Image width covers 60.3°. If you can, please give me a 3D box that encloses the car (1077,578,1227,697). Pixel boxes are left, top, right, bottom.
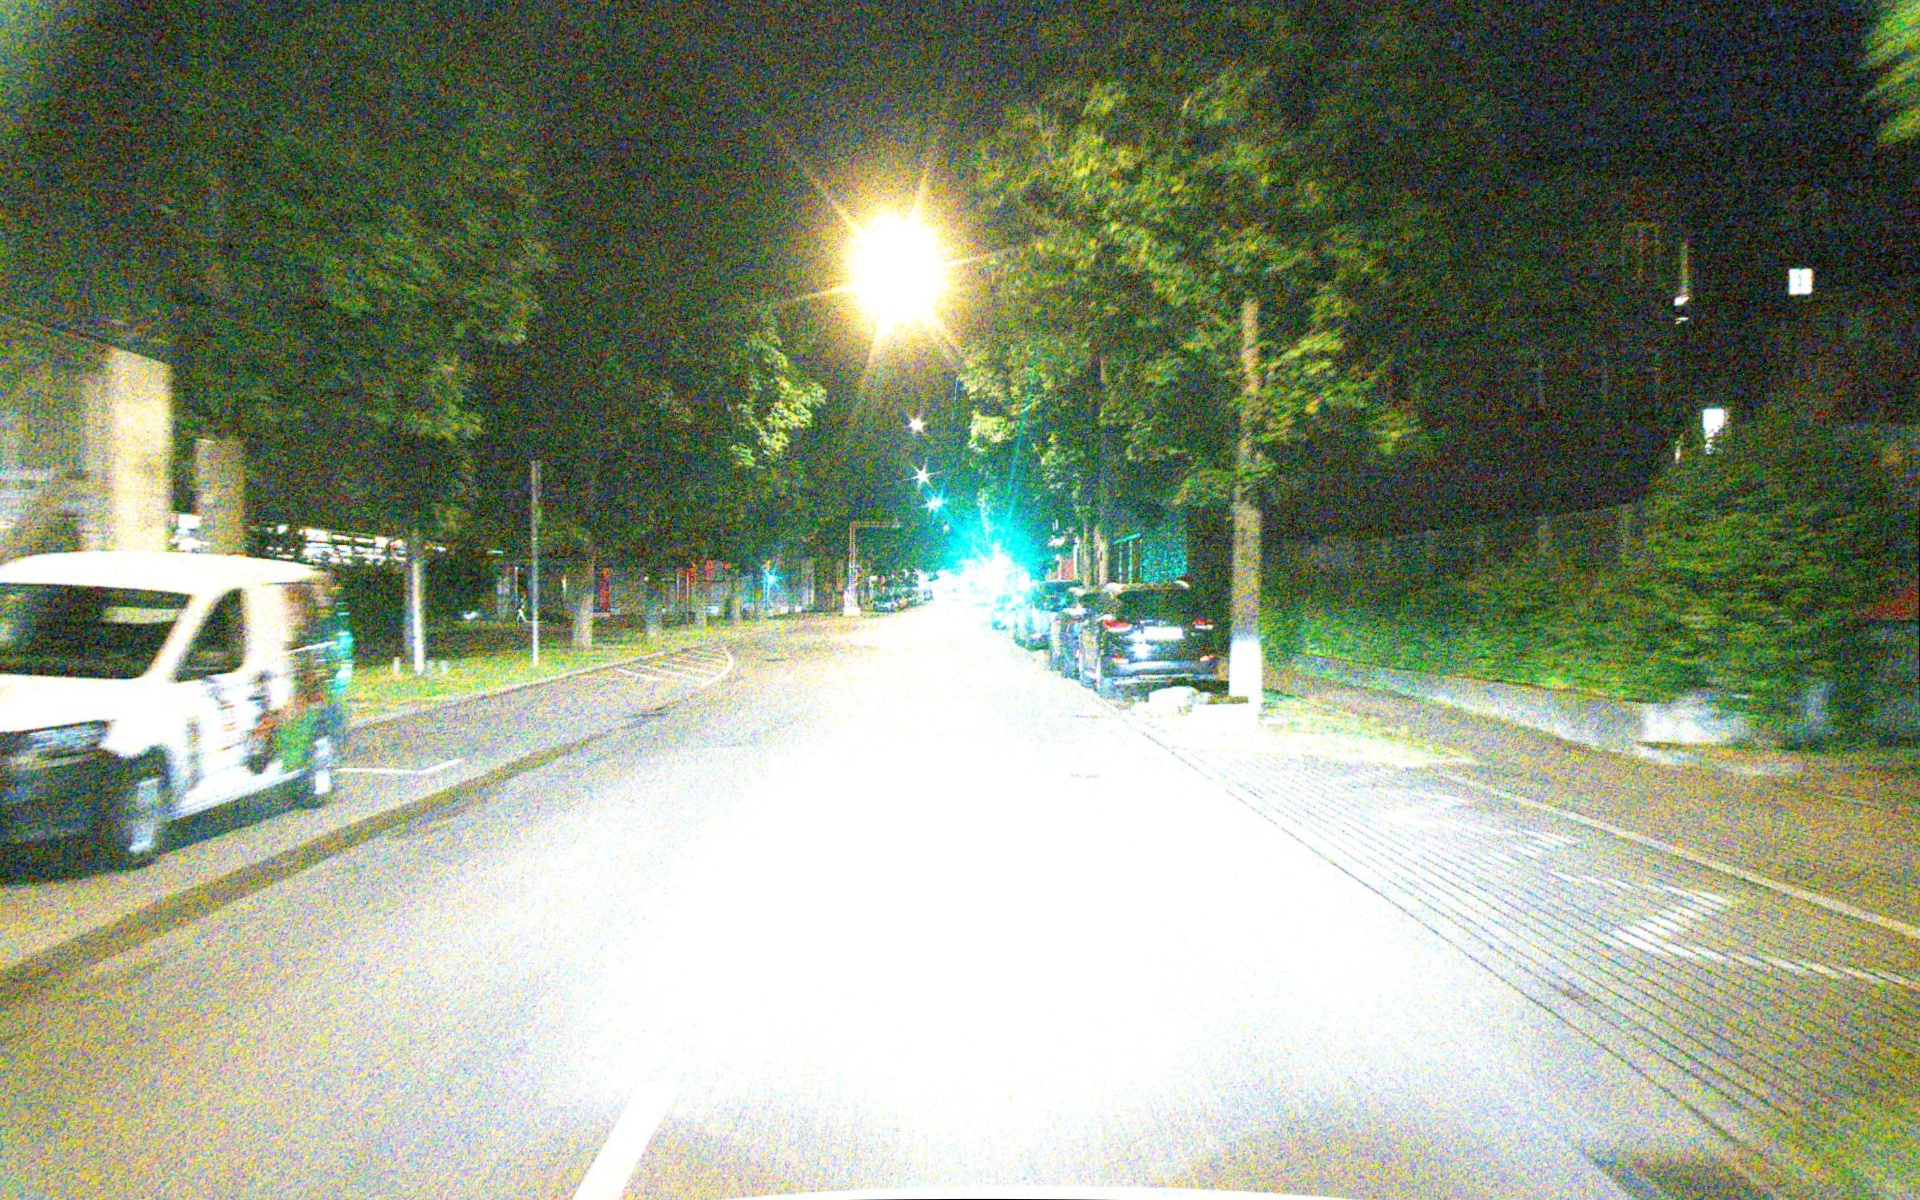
[{"bbox_3d":[2.918,0.529,25.936,1.815,1.683,4.209,-1,0,0],"label":"car"}]

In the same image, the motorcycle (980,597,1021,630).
[{"bbox_3d":[1.630,0.541,66.291,0.625,1.292,2.058,1,0,34],"label":"motorcycle"}]

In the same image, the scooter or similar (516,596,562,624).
[{"bbox_3d":[-16.529,0.402,64.975,1.639,1.025,0.544,3,0,1],"label":"scooter or similar"}]

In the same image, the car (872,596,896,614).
[{"bbox_3d":[-6.124,0.374,133.571,1.705,1.440,3.751,1,0,-1],"label":"car"}]

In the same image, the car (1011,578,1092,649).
[{"bbox_3d":[2.497,0.355,46.035,1.736,1.838,4.275,-1,0,-3],"label":"car"}]

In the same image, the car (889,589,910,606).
[{"bbox_3d":[-5.436,-0.220,148.555,1.705,1.440,3.752,1,2,-1],"label":"car"}]

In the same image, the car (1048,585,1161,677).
[{"bbox_3d":[2.682,0.545,31.572,1.815,1.632,4.209,0,0,0],"label":"car"}]

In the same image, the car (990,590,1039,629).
[{"bbox_3d":[2.279,0.382,70.232,1.815,1.618,4.299,0,0,-1],"label":"car"}]

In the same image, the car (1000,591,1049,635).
[{"bbox_3d":[2.421,0.459,62.934,1.559,1.561,4.137,-1,0,-1],"label":"car"}]

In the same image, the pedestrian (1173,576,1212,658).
[{"bbox_3d":[5.050,0.370,35.946,0.691,1.752,0.821,-1,0,-1],"label":"pedestrian"}]

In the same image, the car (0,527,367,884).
[{"bbox_3d":[-5.550,0.504,10.729,1.785,1.843,4.210,3,0,0],"label":"car"}]

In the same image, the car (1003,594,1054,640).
[{"bbox_3d":[2.203,0.522,54.071,1.489,1.420,3.984,-1,0,0],"label":"car"}]

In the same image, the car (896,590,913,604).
[{"bbox_3d":[-5.948,-0.315,176.886,1.705,1.440,3.751,1,0,-1],"label":"car"}]
